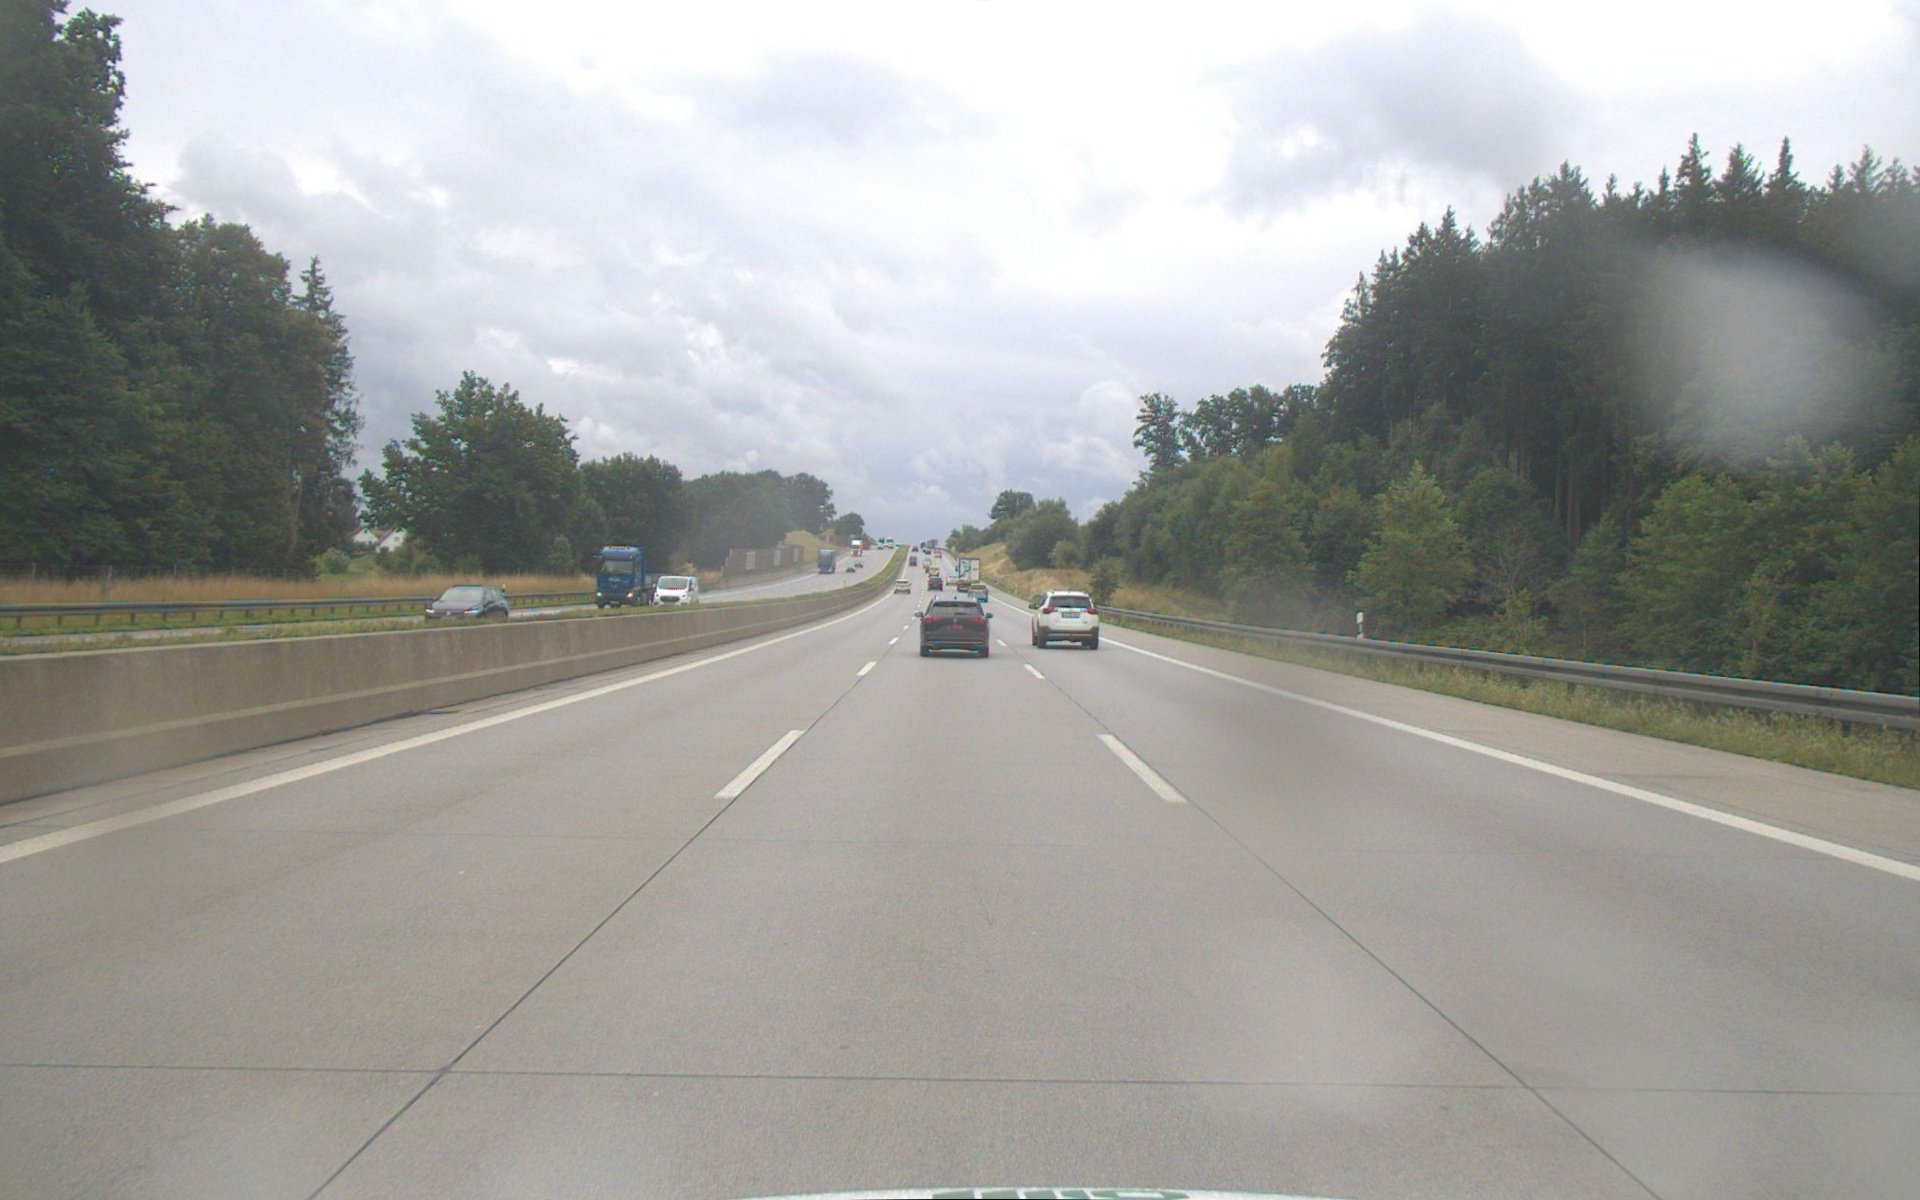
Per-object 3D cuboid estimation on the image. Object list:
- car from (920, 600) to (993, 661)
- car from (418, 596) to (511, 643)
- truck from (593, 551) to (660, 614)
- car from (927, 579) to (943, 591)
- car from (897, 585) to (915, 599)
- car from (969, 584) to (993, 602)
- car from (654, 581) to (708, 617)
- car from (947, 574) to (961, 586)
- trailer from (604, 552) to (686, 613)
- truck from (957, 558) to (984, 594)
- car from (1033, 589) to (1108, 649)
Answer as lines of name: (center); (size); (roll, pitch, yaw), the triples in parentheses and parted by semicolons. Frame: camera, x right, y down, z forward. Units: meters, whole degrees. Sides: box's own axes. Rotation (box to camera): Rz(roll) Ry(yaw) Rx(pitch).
car: (-0.072, 0.747, 41.688); (1.716, 1.422, 4.483); (1, -1, 0)
car: (-15.786, 0.600, 52.901); (1.810, 1.400, 4.434); (1, 0, -3)
truck: (-19.837, -1.000, 98.737); (2.701, 3.578, 6.639); (1, 0, -1)
car: (-3.134, -1.879, 205.953); (1.896, 1.399, 4.594); (2, 0, 0)
car: (-6.069, -0.858, 185.553); (1.907, 1.380, 4.259); (0, -1, 0)
car: (1.876, -0.617, 149.162); (1.953, 1.557, 3.999); (1, 0, -1)
car: (-15.158, -0.045, 90.047); (2.046, 1.833, 5.496); (1, 0, -1)
car: (-0.925, -2.921, 242.884); (1.952, 1.668, 4.001); (1, 1, 1)
trailer: (-19.941, -1.014, 105.563); (2.729, 3.569, 13.882); (1, 0, -1)
truck: (1.268, -3.022, 202.505); (2.956, 4.253, 8.353); (1, 1, -1)
car: (3.261, 0.554, 49.319); (1.789, 1.684, 3.983); (1, 0, -2)
